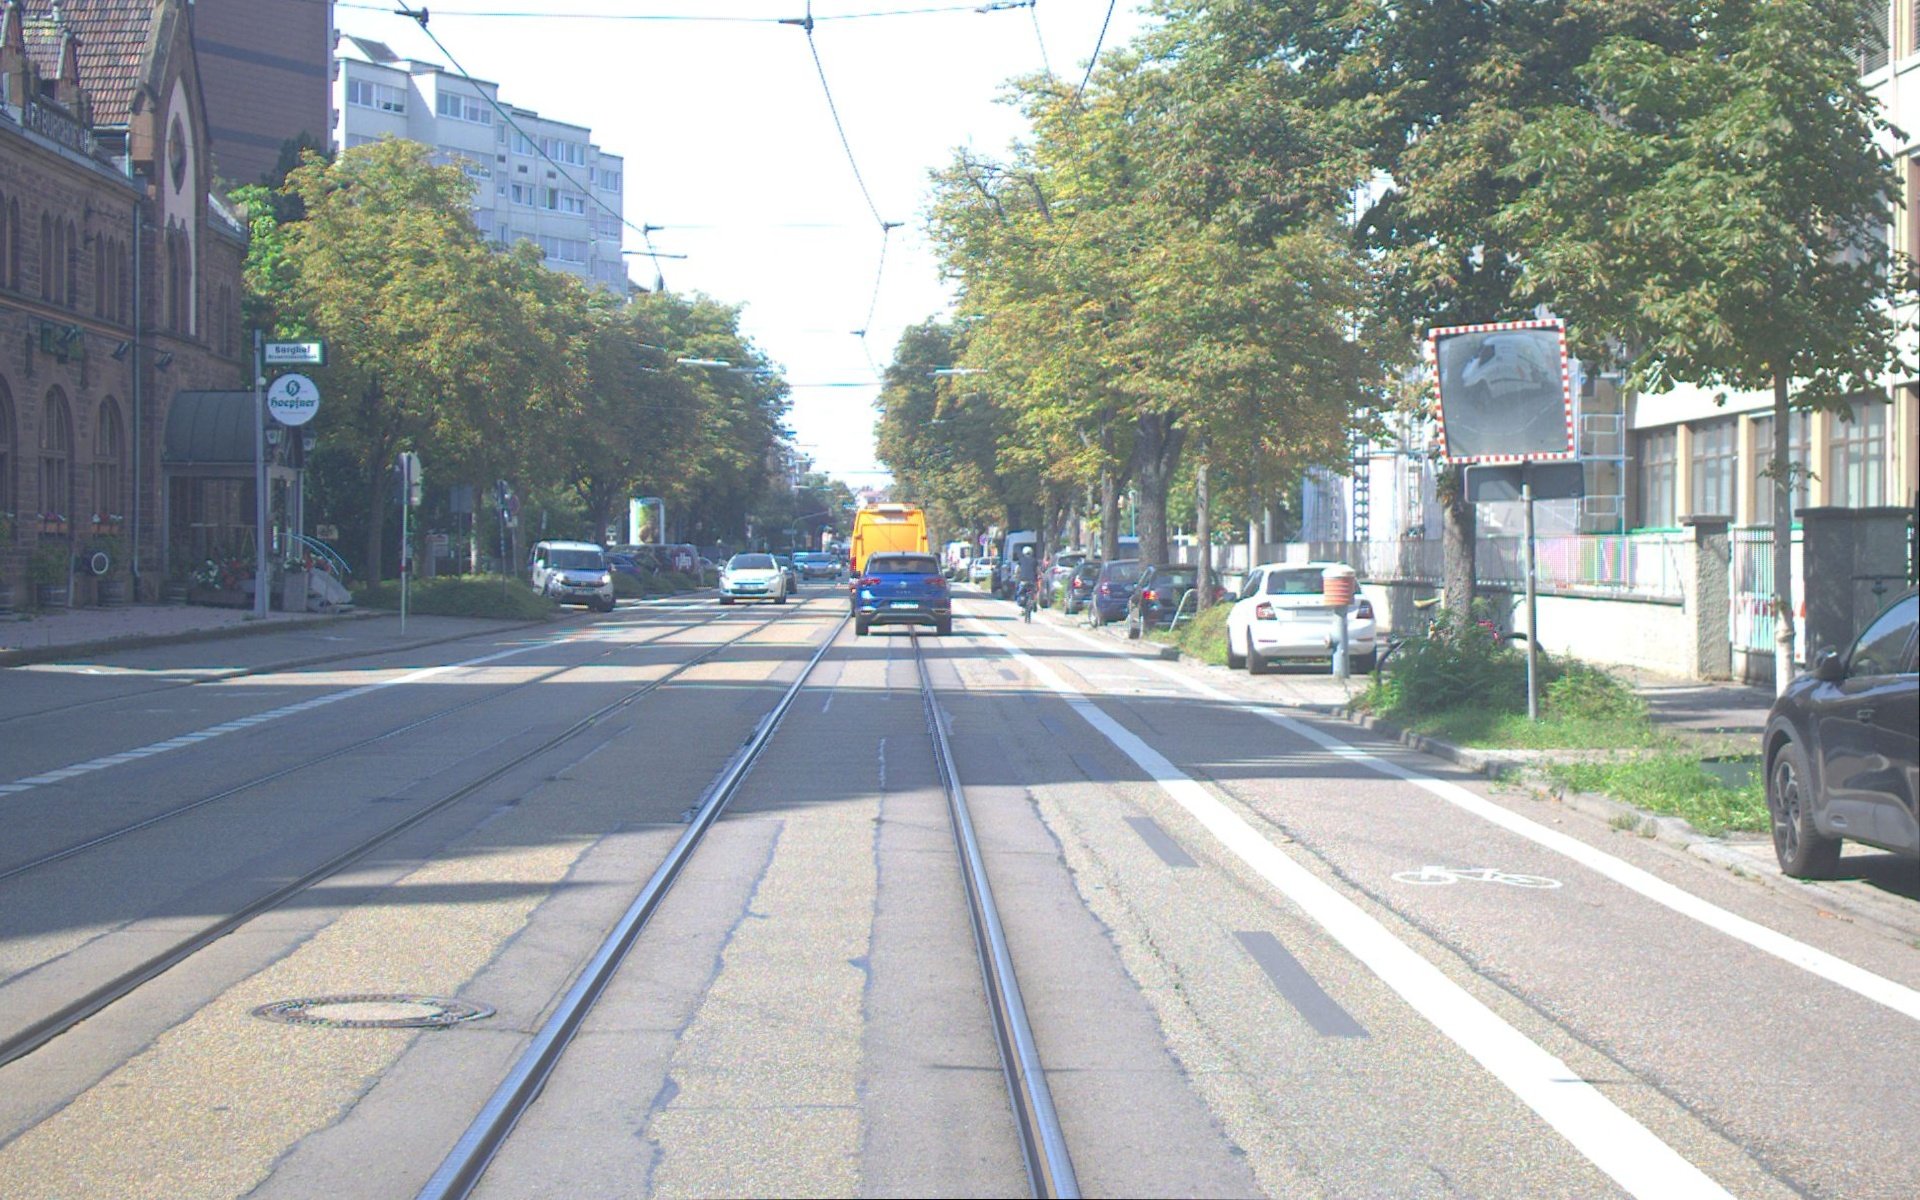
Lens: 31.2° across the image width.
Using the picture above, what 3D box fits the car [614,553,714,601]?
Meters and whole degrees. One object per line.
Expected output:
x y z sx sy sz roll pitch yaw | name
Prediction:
-12.843 -0.997 149.289 3.989 2.007 1.856 1 1 -44 | car

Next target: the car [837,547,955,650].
-1.197 -0.058 65.184 2.135 1.852 5.568 0 1 -1 | car

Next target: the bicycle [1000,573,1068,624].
1.696 -0.046 79.641 1.401 1.130 4.000 1 1 -1 | bicycle

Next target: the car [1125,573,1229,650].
4.064 0.192 64.972 1.659 1.403 4.217 0 0 -1 | car

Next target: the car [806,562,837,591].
-8.303 -1.432 205.897 1.780 1.678 4.348 1 0 -2 | car

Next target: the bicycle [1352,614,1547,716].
4.810 0.634 33.837 1.812 0.955 0.558 1 0 -1 | bicycle

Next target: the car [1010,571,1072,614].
2.821 -0.274 120.228 1.908 1.427 4.293 1 1 -2 | car

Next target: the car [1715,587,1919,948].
4.924 0.711 15.714 1.755 1.510 4.610 -1 1 -2 | car

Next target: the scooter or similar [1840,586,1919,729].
8.573 0.512 31.555 0.556 1.255 1.818 1 1 2 | scooter or similar

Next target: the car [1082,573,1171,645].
3.677 0.175 76.520 1.743 1.550 4.217 0 0 -1 | car

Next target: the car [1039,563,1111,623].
3.313 -0.213 99.710 1.740 1.662 4.362 1 1 -2 | car

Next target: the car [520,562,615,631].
-10.662 -0.100 93.260 1.746 1.790 4.001 1 1 -18 | car

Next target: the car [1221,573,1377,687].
4.545 0.371 46.593 1.659 1.476 4.217 0 0 -1 | car

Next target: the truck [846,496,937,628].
-1.661 -0.923 84.246 2.135 3.114 6.085 0 1 -1 | truck

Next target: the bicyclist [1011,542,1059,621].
1.737 -0.423 79.636 1.031 1.806 1.016 1 0 -1 | bicyclist

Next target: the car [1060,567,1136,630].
3.573 -0.052 89.618 1.633 1.579 4.189 1 1 -2 | car

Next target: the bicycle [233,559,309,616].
-14.550 -0.264 72.622 1.451 1.089 0.399 4 0 -5 | bicycle

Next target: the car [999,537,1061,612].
2.635 -0.992 130.815 1.993 2.746 5.762 1 1 -2 | car

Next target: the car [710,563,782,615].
-6.312 -0.339 101.833 1.847 1.486 4.867 0 1 0 | car
